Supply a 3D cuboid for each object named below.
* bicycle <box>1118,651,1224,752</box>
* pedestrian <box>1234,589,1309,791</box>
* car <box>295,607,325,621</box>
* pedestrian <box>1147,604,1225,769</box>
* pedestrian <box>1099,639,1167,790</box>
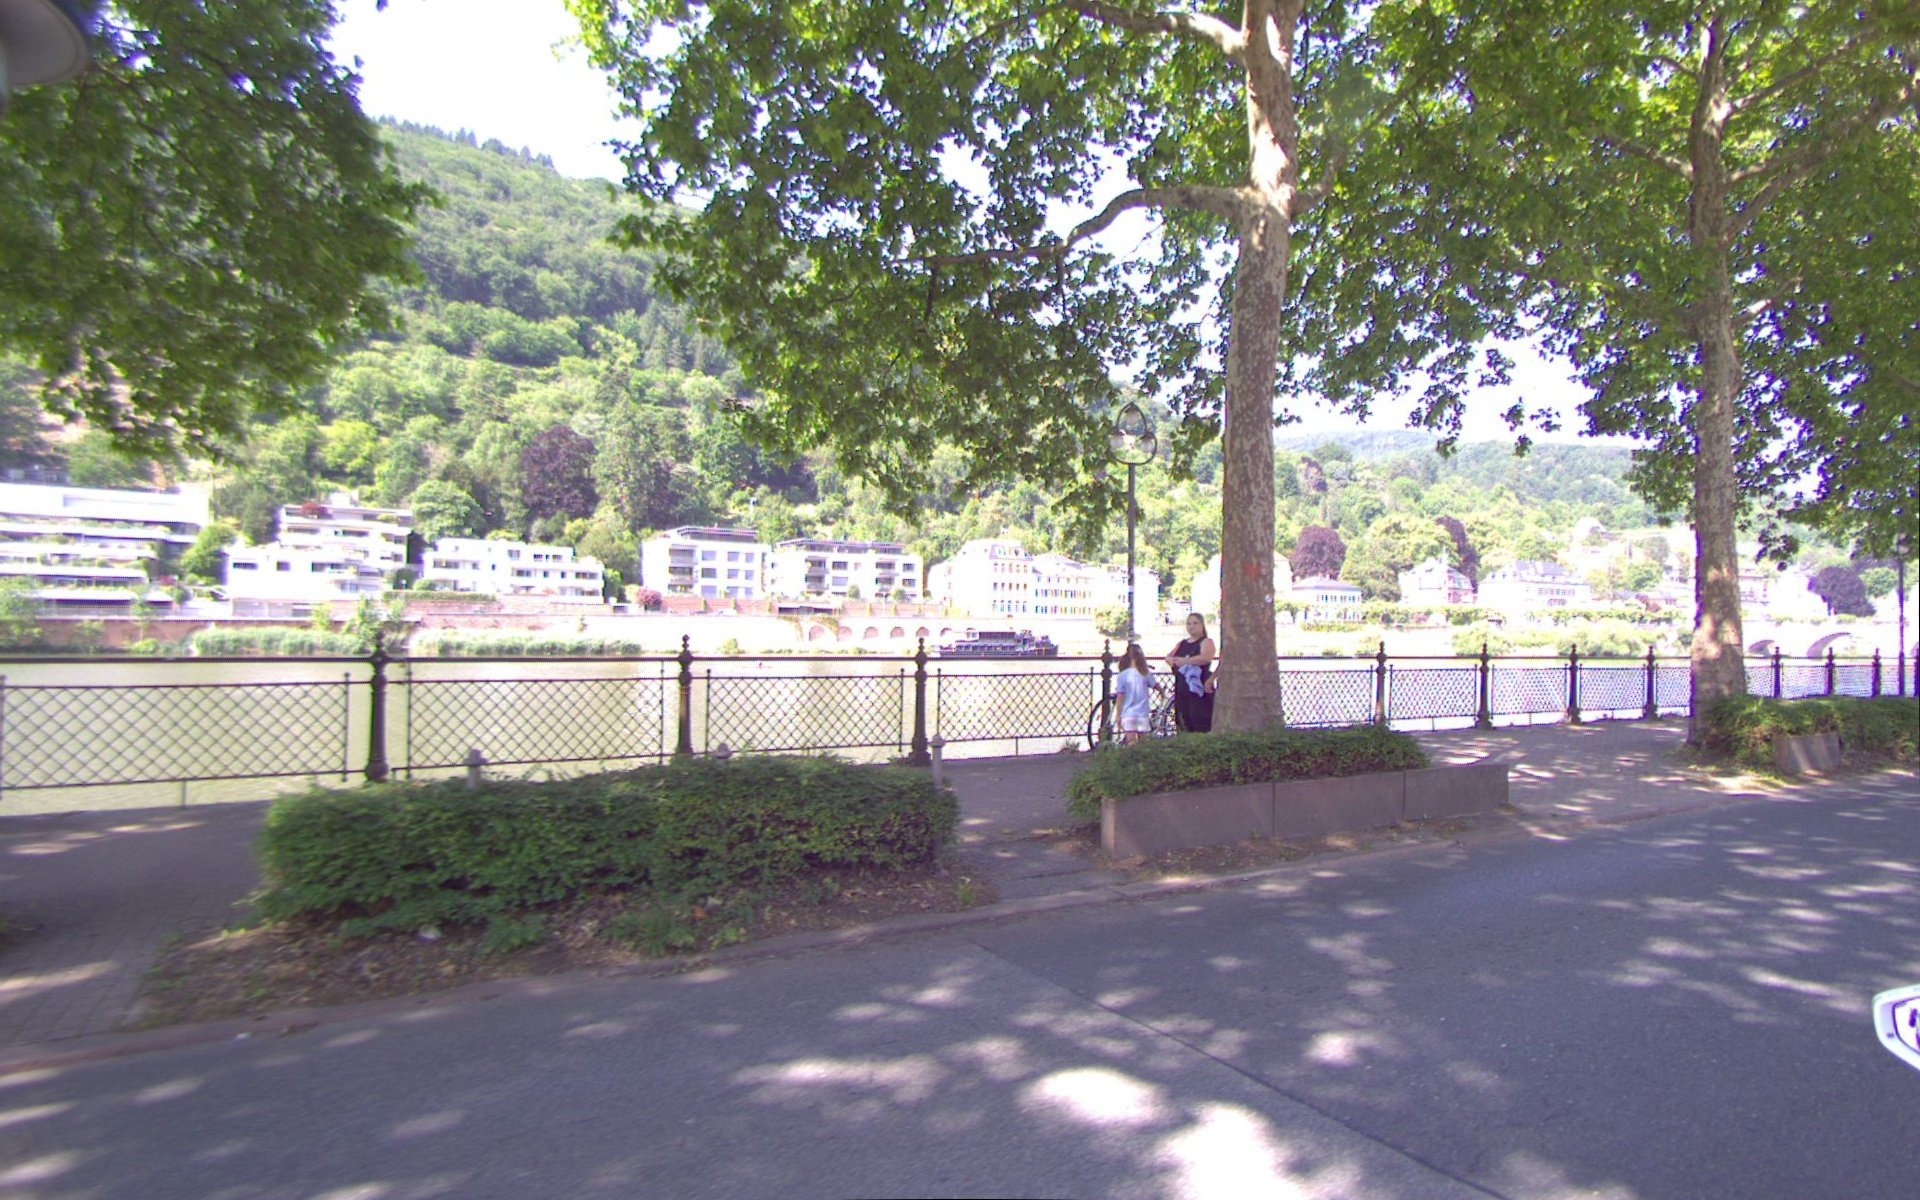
[{"bbox_3d":[2.493,1.173,11.841,1.281,1.106,0.357,1,2,-31],"label":"bicycle"},{"bbox_3d":[3.054,0.860,9.856,0.431,1.912,0.532,1,-1,-30],"label":"pedestrian"},{"bbox_3d":[-106.054,2.285,163.869,3.953,2.040,1.984,1,0,-30],"label":"car"},{"bbox_3d":[2.433,0.911,10.834,0.576,1.708,0.598,1,-1,-31],"label":"pedestrian"},{"bbox_3d":[1.646,1.071,9.588,0.411,1.381,0.477,1,0,-25],"label":"pedestrian"}]
